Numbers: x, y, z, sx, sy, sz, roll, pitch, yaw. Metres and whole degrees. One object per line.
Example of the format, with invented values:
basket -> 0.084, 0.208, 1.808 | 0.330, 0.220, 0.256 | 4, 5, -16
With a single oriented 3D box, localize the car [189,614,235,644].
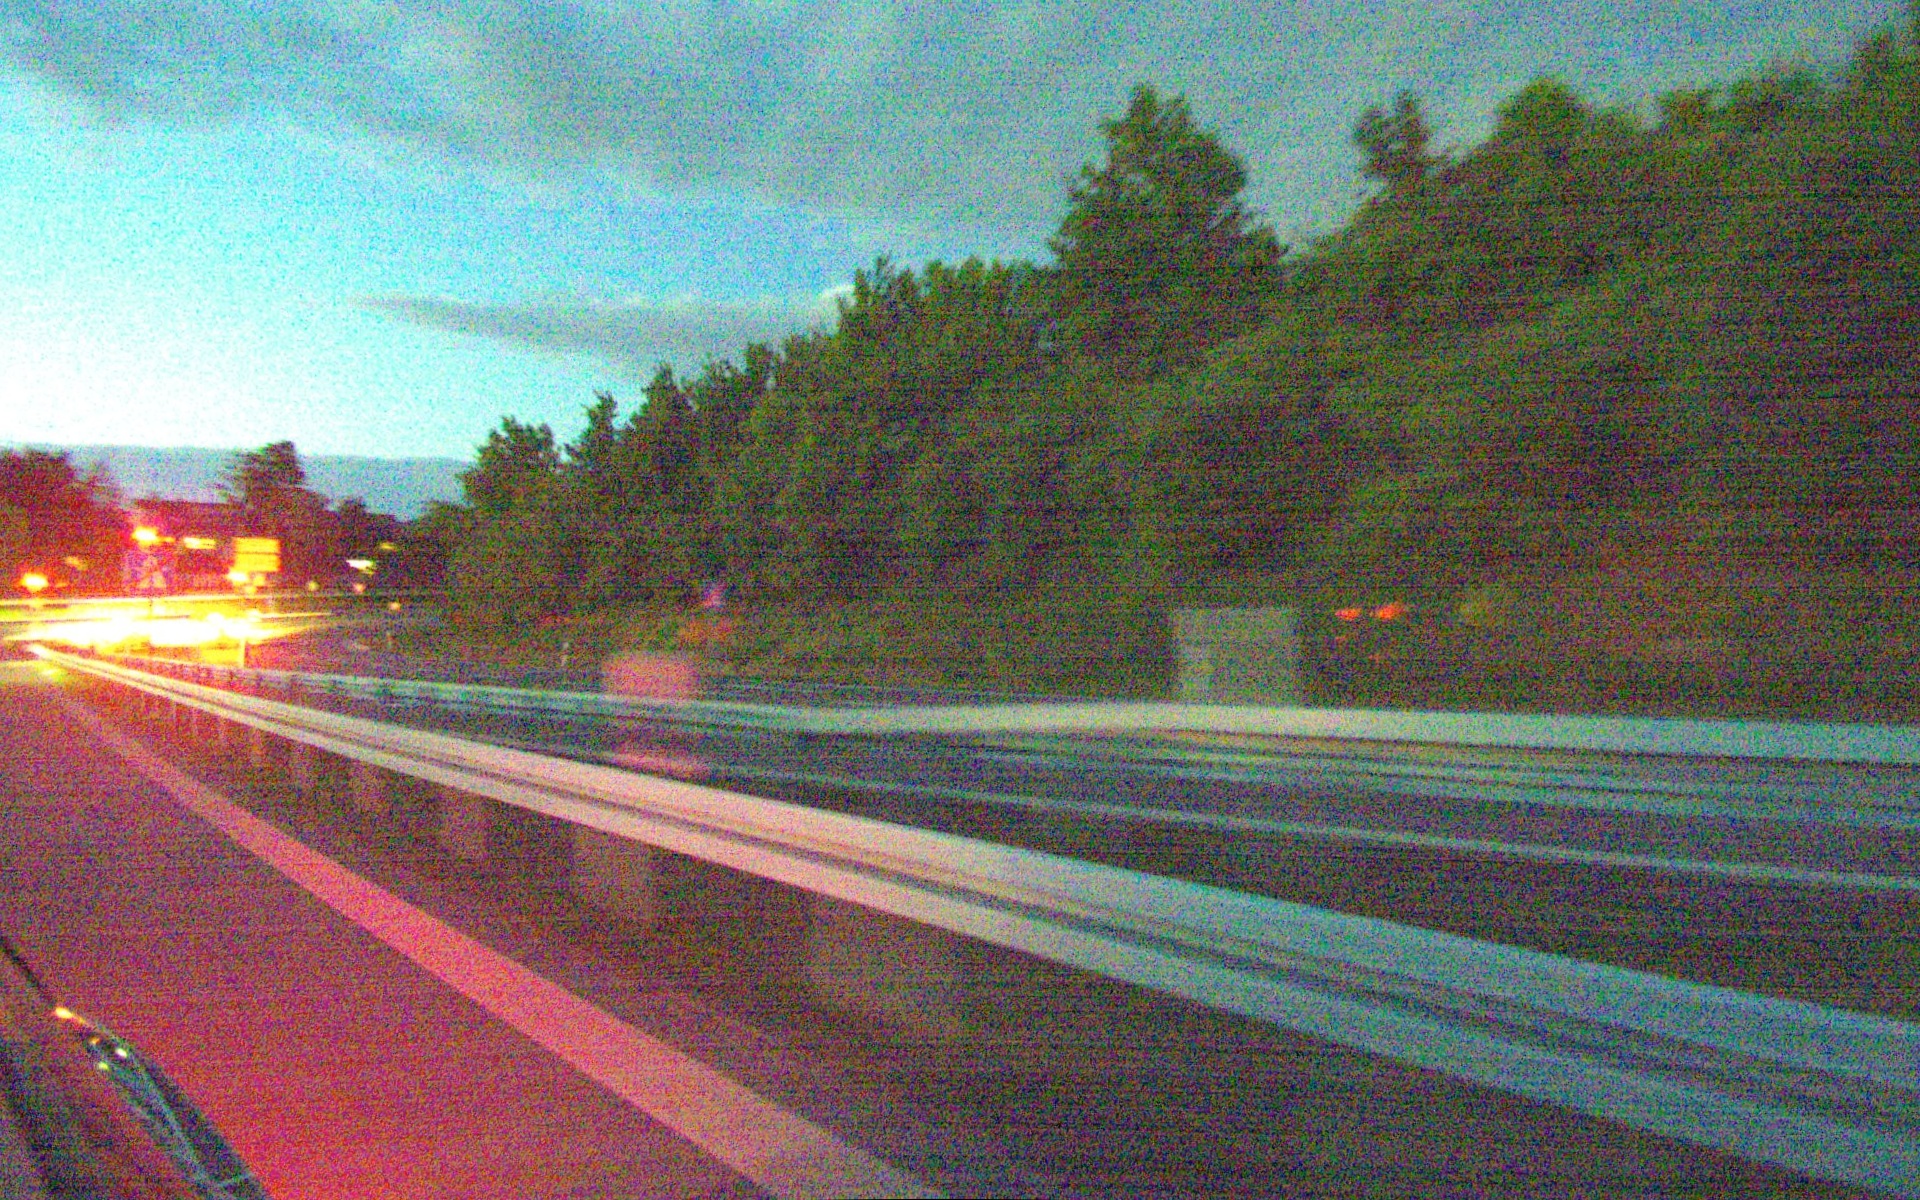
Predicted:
car -> -44.756, 1.709, 60.517 | 1.733, 1.471, 4.004 | -3, 4, -43

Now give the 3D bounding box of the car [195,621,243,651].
car -> -40.625, 1.929, 55.464 | 1.663, 1.470, 3.816 | 0, 1, -43

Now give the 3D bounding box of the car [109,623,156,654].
car -> -43.977, 1.996, 53.747 | 1.690, 1.455, 3.989 | -1, 1, -43

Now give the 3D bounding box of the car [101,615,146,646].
car -> -49.192, 1.781, 59.492 | 1.680, 1.485, 3.873 | -3, 4, -45
